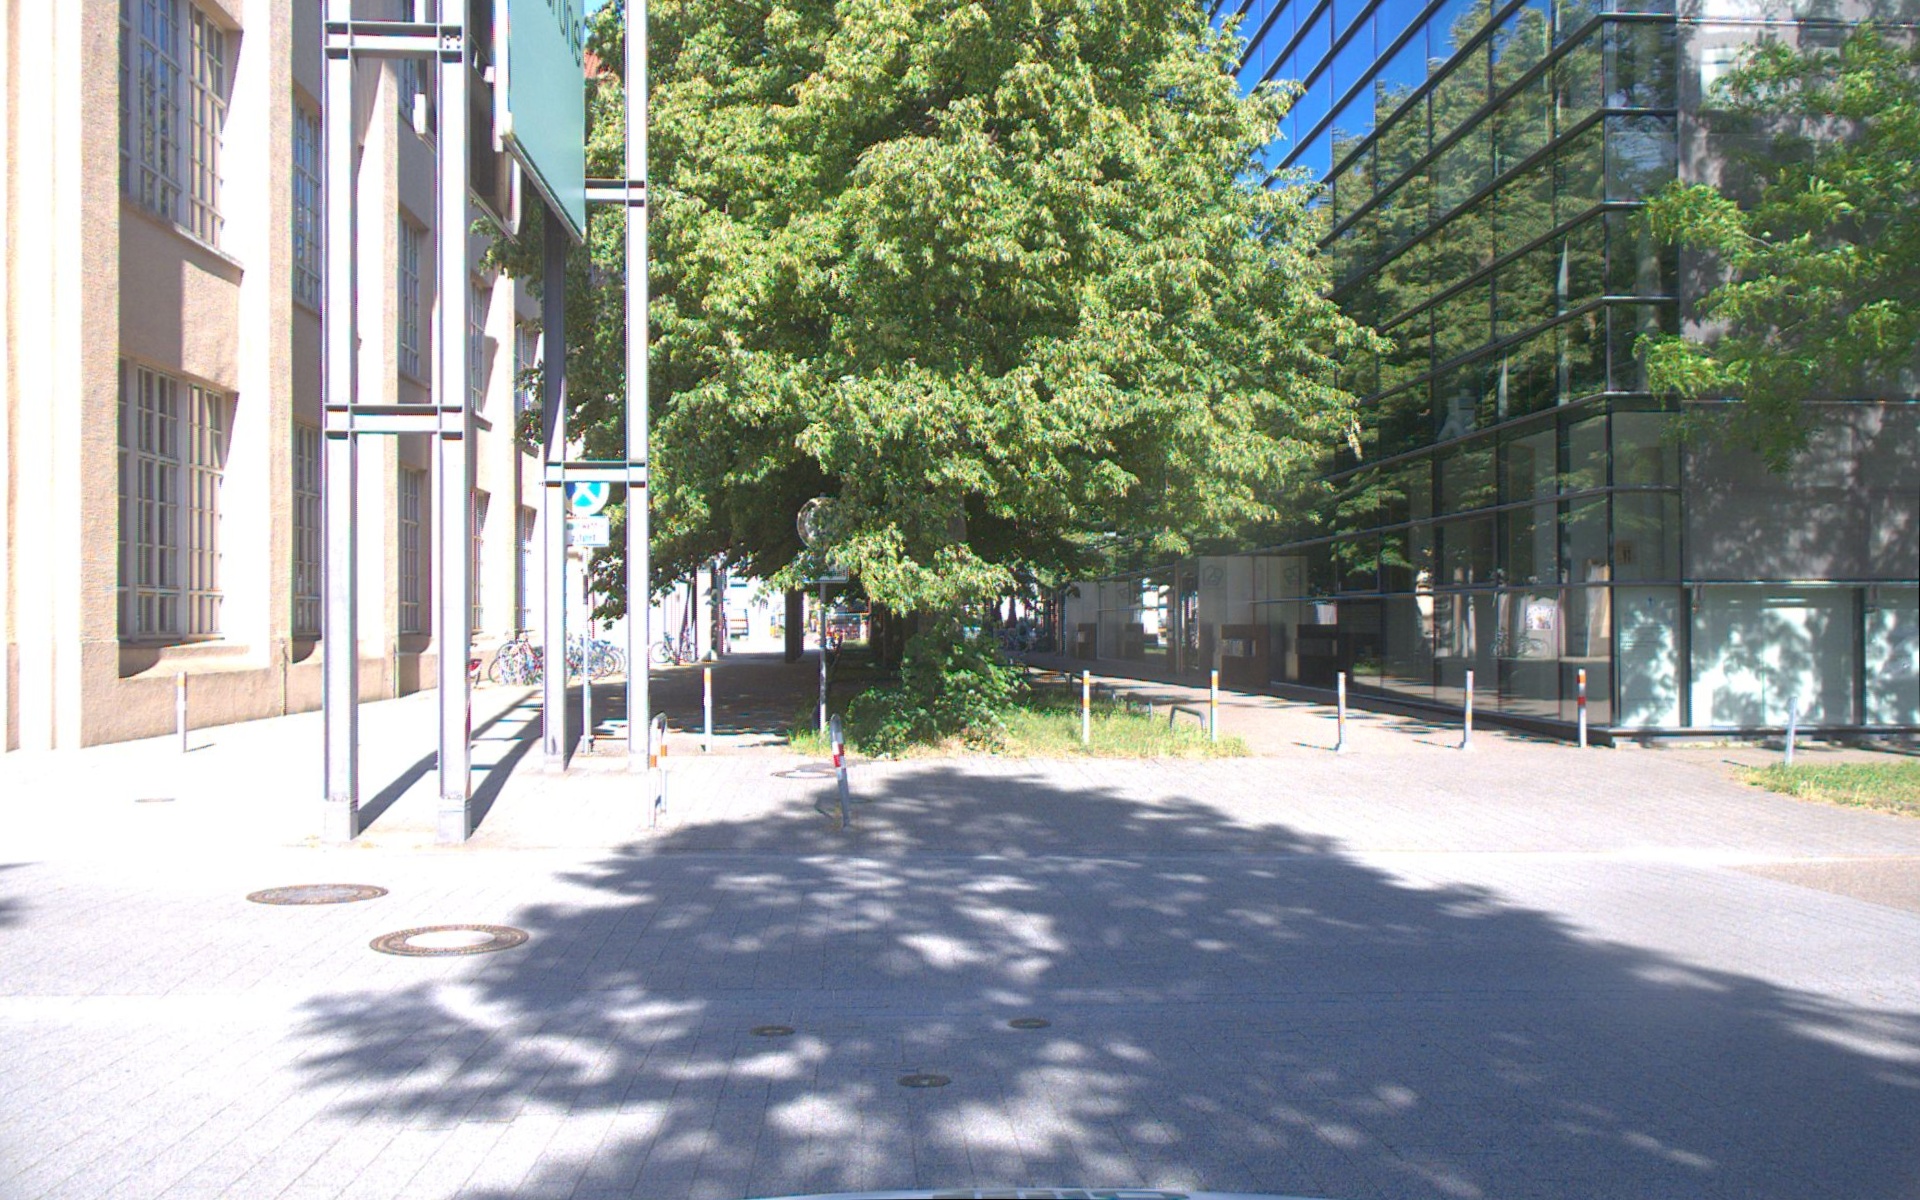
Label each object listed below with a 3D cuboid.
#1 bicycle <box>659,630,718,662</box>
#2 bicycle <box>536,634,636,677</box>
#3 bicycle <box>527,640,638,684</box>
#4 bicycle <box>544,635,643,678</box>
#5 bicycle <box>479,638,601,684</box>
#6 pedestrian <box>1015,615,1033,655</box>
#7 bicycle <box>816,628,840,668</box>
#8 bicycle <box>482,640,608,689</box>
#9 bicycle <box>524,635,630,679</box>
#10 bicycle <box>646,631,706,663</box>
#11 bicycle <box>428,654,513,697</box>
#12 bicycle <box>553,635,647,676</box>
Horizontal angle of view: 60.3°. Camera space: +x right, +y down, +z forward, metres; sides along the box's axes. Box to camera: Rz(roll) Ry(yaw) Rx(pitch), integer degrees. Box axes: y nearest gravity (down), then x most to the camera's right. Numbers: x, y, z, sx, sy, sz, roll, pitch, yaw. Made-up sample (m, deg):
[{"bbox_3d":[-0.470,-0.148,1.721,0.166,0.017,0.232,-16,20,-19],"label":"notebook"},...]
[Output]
[{"bbox_3d":[-9.580,1.625,58.416,2.016,1.085,0.506,0,-1,-2],"label":"bicycle"},{"bbox_3d":[-10.446,1.551,46.282,2.680,1.171,0.717,0,-1,-8],"label":"bicycle"},{"bbox_3d":[-9.702,1.585,42.584,2.748,1.082,0.717,0,-1,-8],"label":"bicycle"},{"bbox_3d":[-10.411,1.604,47.075,2.680,1.171,0.717,0,-1,-8],"label":"bicycle"},{"bbox_3d":[-10.046,1.455,39.602,2.745,1.082,0.718,0,-1,-4],"label":"bicycle"},{"bbox_3d":[2.556,1.396,65.619,0.702,1.577,0.690,0,-1,2],"label":"pedestrian"},{"bbox_3d":[-4.175,1.507,52.302,0.607,1.218,2.127,0,-1,-8],"label":"bicycle"},{"bbox_3d":[-9.519,1.477,38.025,2.748,1.082,0.717,0,-1,-8],"label":"bicycle"},{"bbox_3d":[-10.391,1.542,44.919,2.748,1.171,0.717,0,-1,-8],"label":"bicycle"},{"bbox_3d":[-9.900,1.643,57.705,2.016,1.085,0.506,0,-1,-2],"label":"bicycle"},{"bbox_3d":[-10.406,1.585,35.295,0.762,0.806,2.885,0,0,4],"label":"bicycle"},{"bbox_3d":[-10.633,1.646,48.916,2.680,1.171,0.717,0,-1,-8],"label":"bicycle"}]
